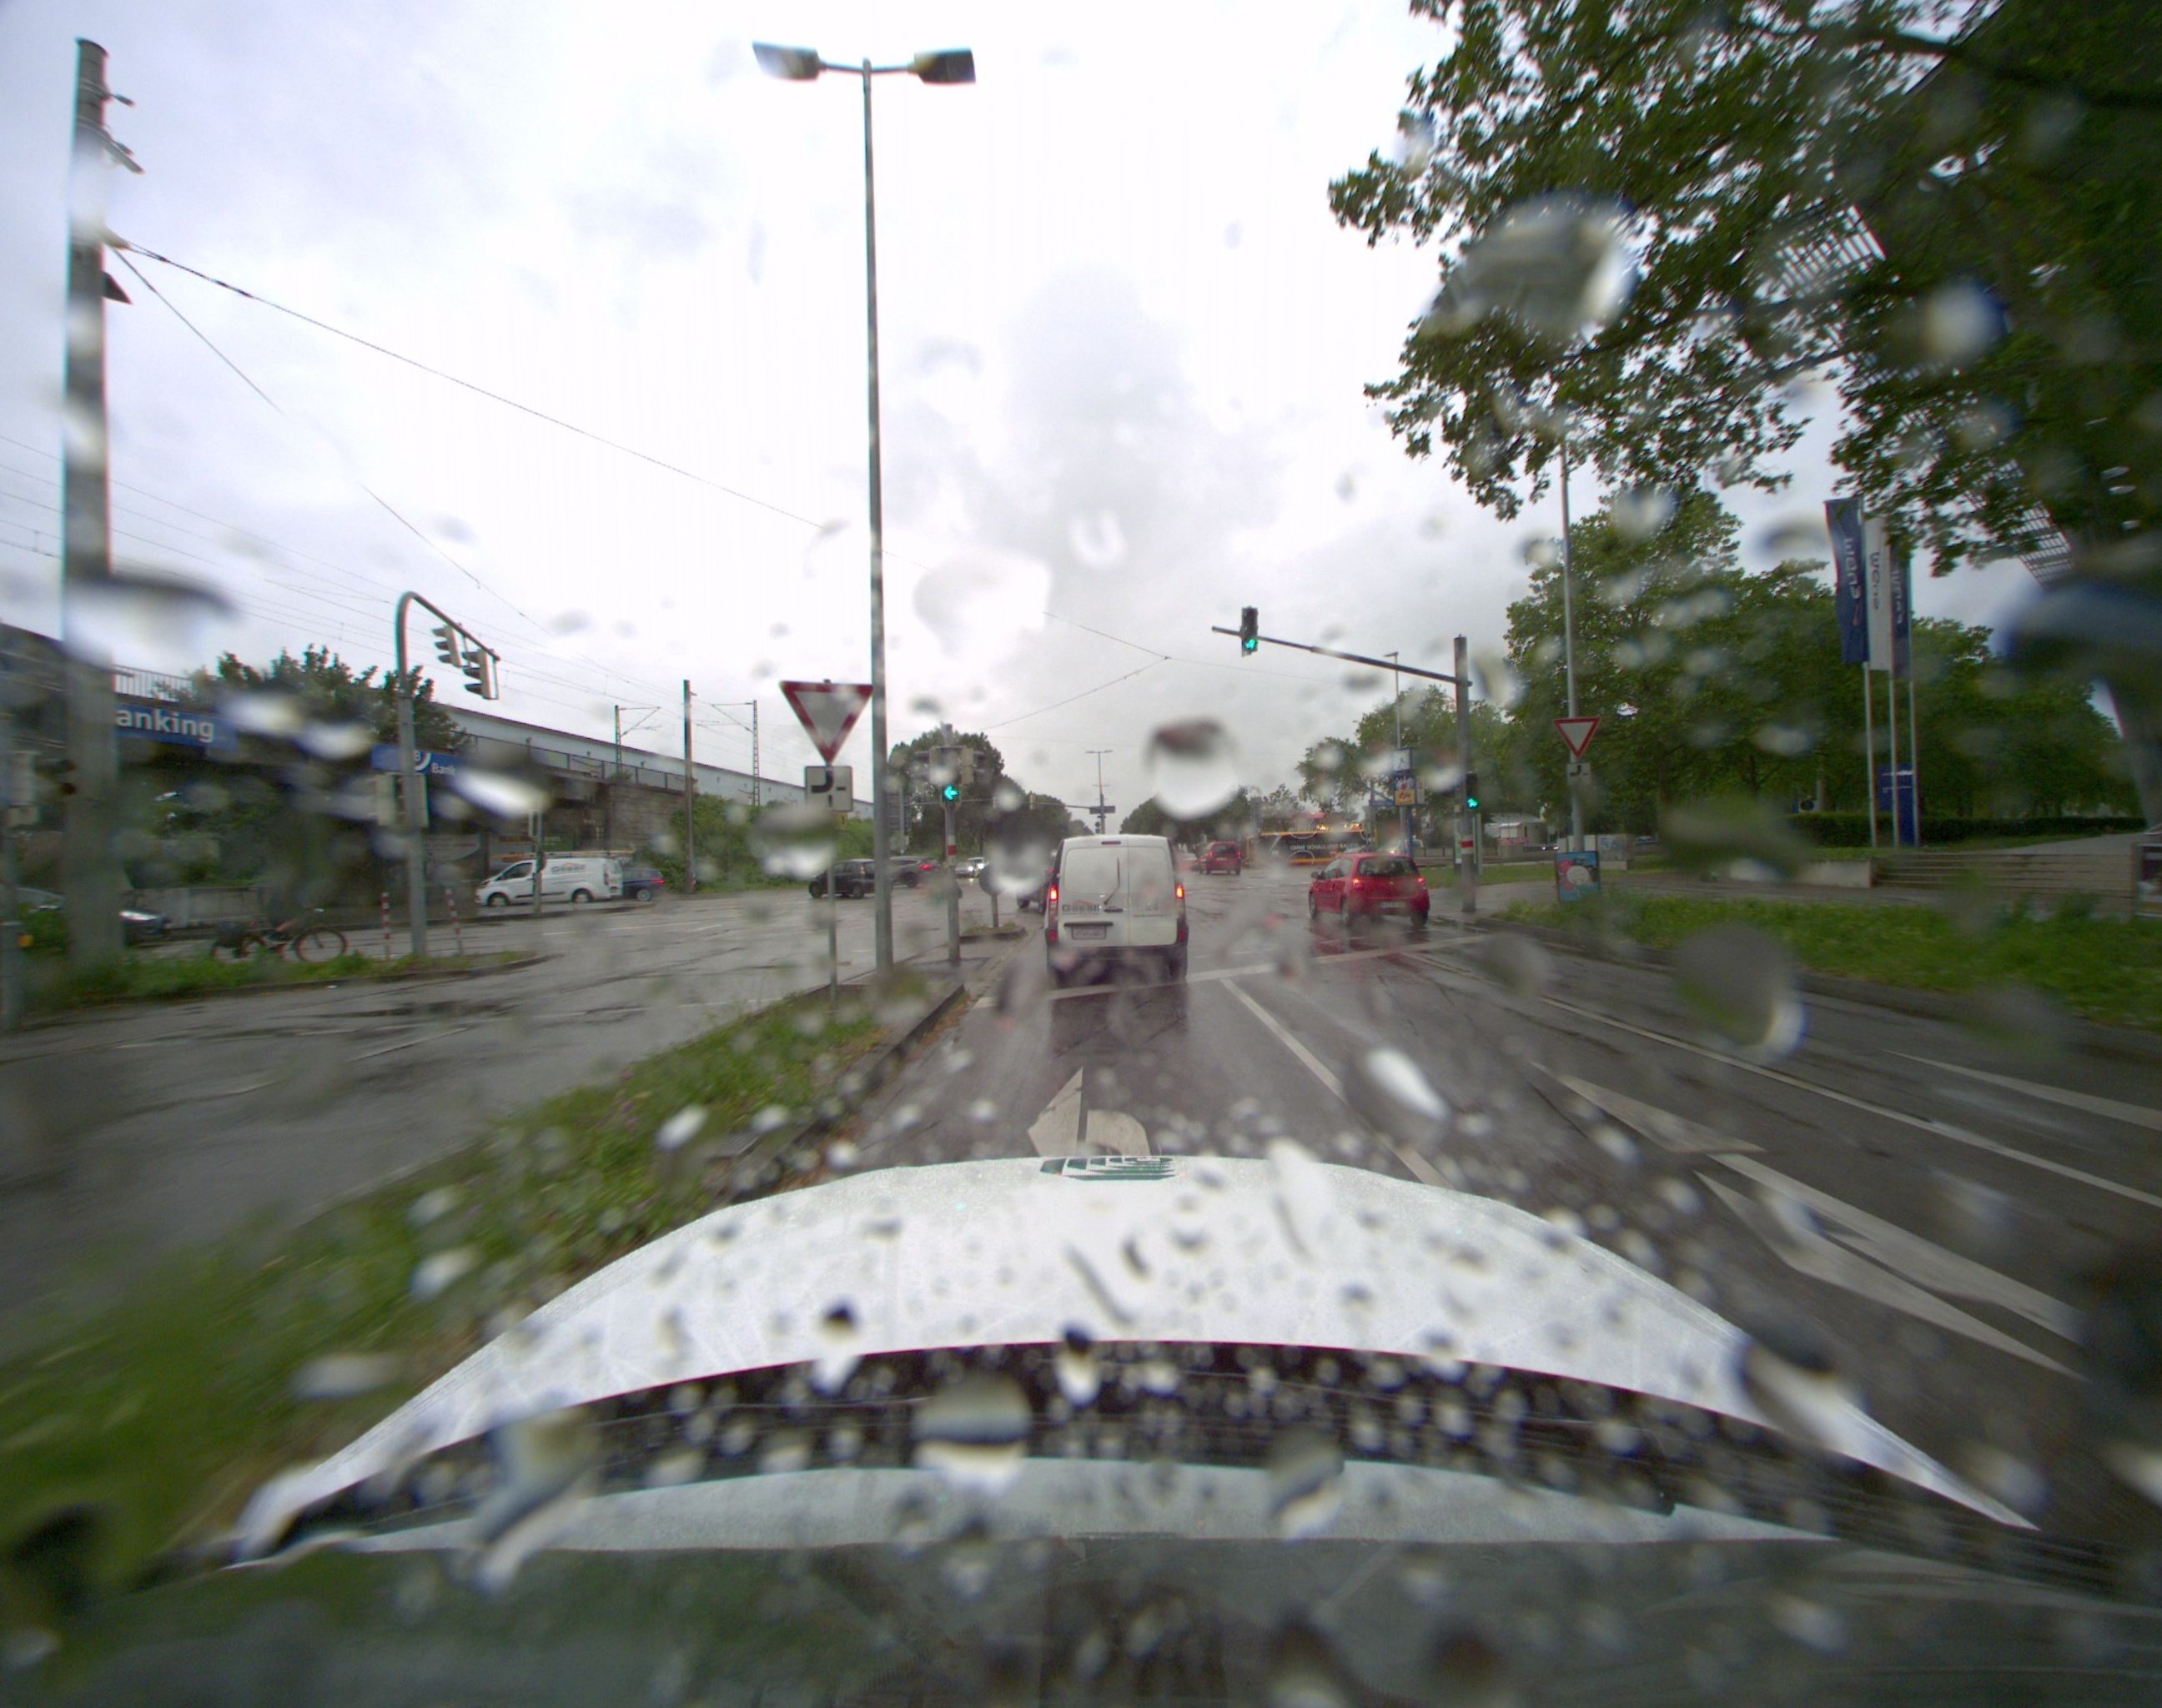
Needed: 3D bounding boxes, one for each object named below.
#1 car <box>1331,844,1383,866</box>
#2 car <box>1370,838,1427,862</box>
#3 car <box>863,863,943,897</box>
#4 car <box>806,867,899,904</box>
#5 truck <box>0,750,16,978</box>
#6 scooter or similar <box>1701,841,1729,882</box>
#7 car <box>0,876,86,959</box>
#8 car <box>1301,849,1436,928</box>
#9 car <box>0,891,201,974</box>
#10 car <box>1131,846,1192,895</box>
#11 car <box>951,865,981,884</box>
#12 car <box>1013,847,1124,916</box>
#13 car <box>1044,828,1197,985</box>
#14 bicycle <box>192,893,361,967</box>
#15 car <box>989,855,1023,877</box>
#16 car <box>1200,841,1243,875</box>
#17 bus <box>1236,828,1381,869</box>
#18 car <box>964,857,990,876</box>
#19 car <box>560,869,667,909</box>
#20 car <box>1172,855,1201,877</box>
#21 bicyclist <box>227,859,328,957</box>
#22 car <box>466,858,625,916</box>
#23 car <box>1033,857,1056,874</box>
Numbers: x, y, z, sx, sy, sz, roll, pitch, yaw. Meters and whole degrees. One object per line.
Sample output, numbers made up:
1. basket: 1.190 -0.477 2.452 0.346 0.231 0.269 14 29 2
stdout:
1. car: 23.026 0.102 67.933 4.361 1.651 1.912 -2 0 -36
2. car: 25.996 -0.343 66.709 4.767 1.849 2.055 -2 0 -36
3. car: -8.479 1.242 38.888 3.321 1.473 1.575 -2 0 13
4. car: -8.903 1.230 31.643 3.413 1.306 1.593 -2 0 34
5. truck: -22.409 0.288 10.429 10.238 3.949 2.659 -2 0 -35
6. scooter or similar: 18.301 0.200 23.507 1.181 1.138 0.337 -2 0 -39
7. car: -21.784 1.248 14.571 4.703 1.485 1.728 -2 0 -33
8. car: 6.007 0.657 17.436 1.673 1.491 3.622 -1 0 1
9. car: -22.471 1.716 17.882 4.020 1.546 1.641 -2 0 -38
10. car: 2.777 0.543 28.778 1.836 1.618 4.001 0 0 1
11. car: -9.136 1.608 64.997 1.887 1.349 3.998 -2 0 -1
12. car: -0.440 0.672 21.839 1.922 1.609 3.977 -2 0 -17
13. car: 0.391 0.608 11.422 1.751 1.777 3.997 -1 0 -2
14. bicycle: -13.544 1.252 13.798 1.920 1.094 0.688 0 0 -32
15. car: -6.091 0.926 66.716 2.013 1.657 4.066 -2 0 4
16. car: 7.090 0.182 41.379 1.626 1.655 3.485 0 0 1
17. bus: 20.554 -0.498 74.165 12.207 3.268 3.275 -2 0 0
18. car: -9.083 1.053 71.267 1.822 1.482 3.997 -2 0 -2
19. car: -21.299 1.568 37.303 3.947 1.619 1.985 -2 0 -22
20. car: 7.944 0.902 61.815 1.835 1.618 4.002 0 0 2
21. bicyclist: -13.564 0.879 13.791 1.051 1.593 0.797 0 -1 -32
22. car: -21.172 1.262 32.430 4.810 1.955 1.991 -3 1 -13
23. car: -3.289 1.022 72.689 1.824 1.358 3.993 -2 0 -5
